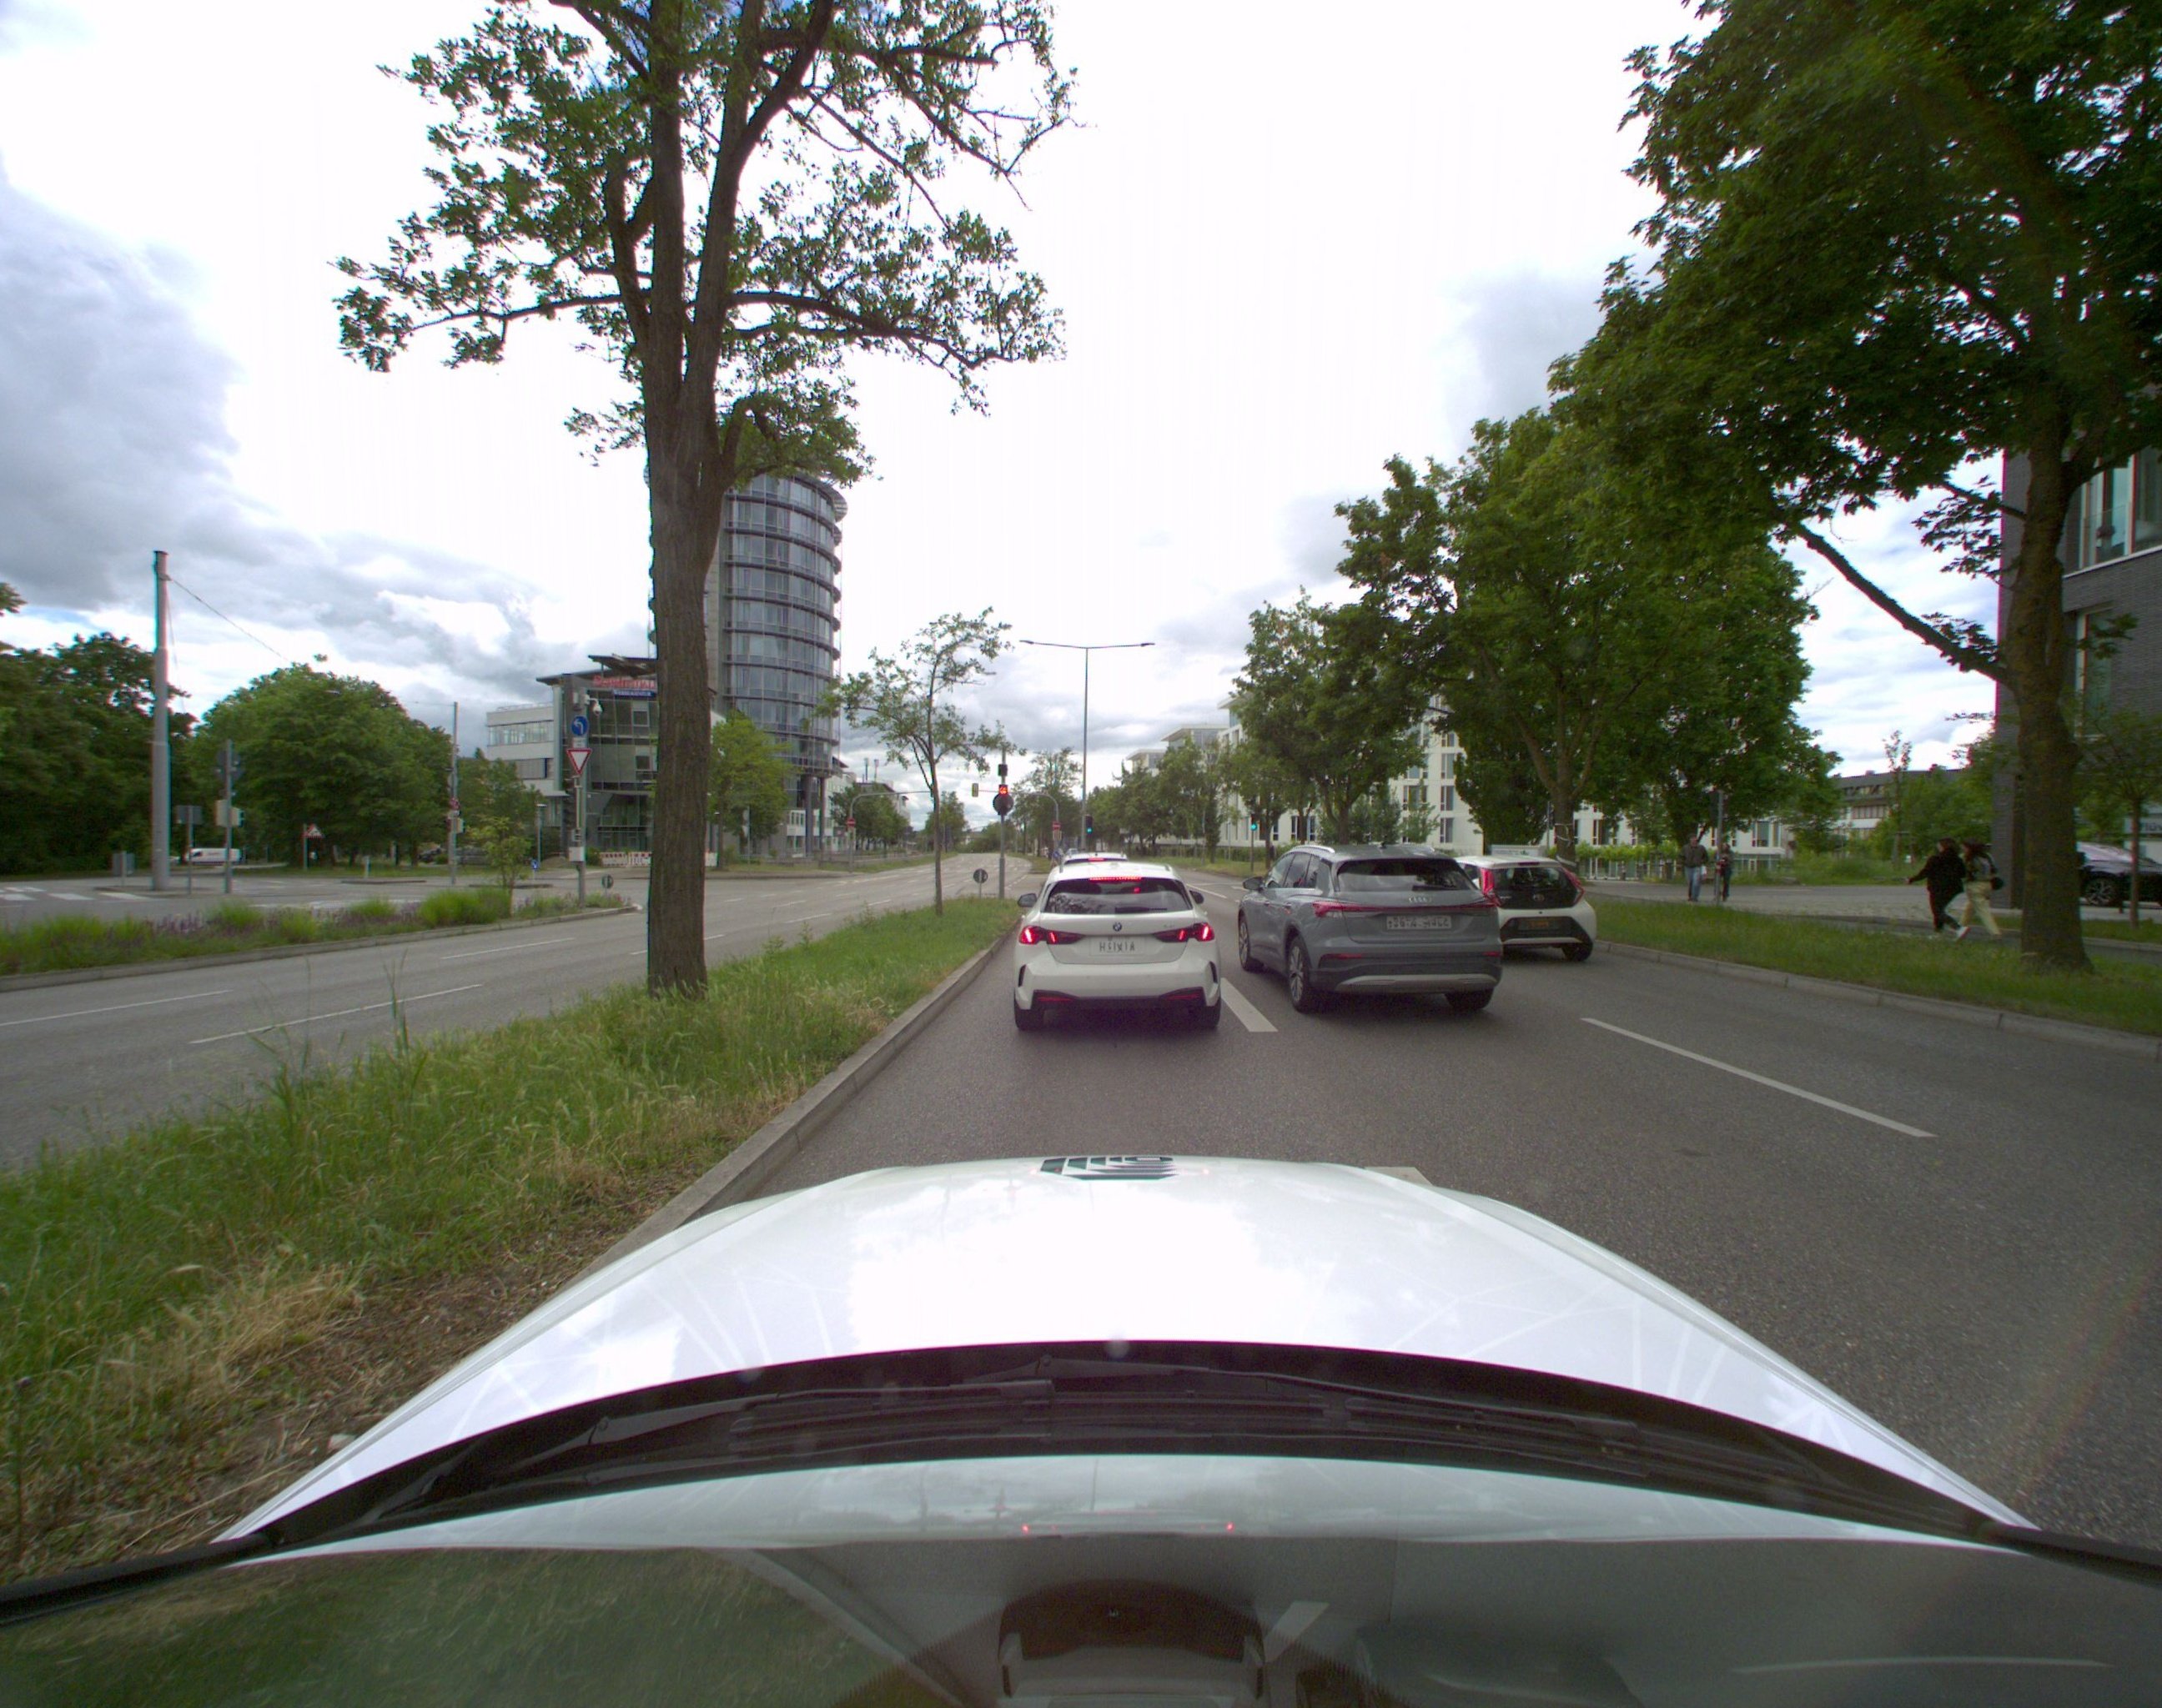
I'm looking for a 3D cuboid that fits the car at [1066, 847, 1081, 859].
[{"bbox_3d":[-1.197,-0.173,123.770,1.990,1.670,3.994,-2,0,-4],"label":"car"}]

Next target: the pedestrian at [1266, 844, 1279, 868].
[{"bbox_3d":[13.111,0.142,55.825,0.739,1.574,0.674,0,-1,0],"label":"pedestrian"}]

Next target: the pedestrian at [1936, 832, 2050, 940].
[{"bbox_3d":[14.510,0.485,12.990,0.774,1.660,0.954,0,0,7],"label":"pedestrian"}]

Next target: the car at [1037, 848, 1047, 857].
[{"bbox_3d":[-7.144,-0.243,149.741,1.692,1.717,3.993,0,-1,-4],"label":"car"}]

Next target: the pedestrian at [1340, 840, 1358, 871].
[{"bbox_3d":[14.206,0.089,43.165,0.697,1.595,0.883,0,-1,1],"label":"pedestrian"}]

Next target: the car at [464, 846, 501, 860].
[{"bbox_3d":[-37.366,-0.060,50.882,0.766,0.876,1.730,0,0,38],"label":"car"}]

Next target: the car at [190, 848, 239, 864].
[{"bbox_3d":[-128.879,0.263,121.188,1.978,2.339,4.570,-1,-1,16],"label":"car"}]

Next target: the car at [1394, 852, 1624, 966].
[{"bbox_3d":[6.135,0.703,12.152,1.647,1.425,3.537,-1,0,2],"label":"car"}]

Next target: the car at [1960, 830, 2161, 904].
[{"bbox_3d":[24.890,0.293,20.229,1.749,1.646,4.151,0,0,2],"label":"car"}]

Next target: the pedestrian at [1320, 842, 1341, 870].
[{"bbox_3d":[13.307,0.098,43.412,0.786,1.448,1.112,0,-1,1],"label":"pedestrian"}]

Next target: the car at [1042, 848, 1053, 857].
[{"bbox_3d":[-7.337,-0.306,178.435,1.992,1.732,3.990,0,-1,-7],"label":"car"}]

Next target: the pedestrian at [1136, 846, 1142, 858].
[{"bbox_3d":[9.461,-0.285,133.605,0.763,2.013,0.751,0,0,-13],"label":"pedestrian"}]

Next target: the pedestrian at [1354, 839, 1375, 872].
[{"bbox_3d":[14.998,0.082,43.092,0.764,1.685,0.883,0,-1,1],"label":"pedestrian"}]

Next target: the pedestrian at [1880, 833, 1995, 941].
[{"bbox_3d":[13.727,0.502,13.093,0.791,1.660,1.061,0,0,7],"label":"pedestrian"}]

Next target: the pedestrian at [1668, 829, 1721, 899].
[{"bbox_3d":[17.024,0.270,22.594,0.983,1.868,0.952,0,0,-38],"label":"pedestrian"}]

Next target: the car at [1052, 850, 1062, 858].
[{"bbox_3d":[-4.557,-0.025,153.730,1.690,1.486,3.685,0,0,-6],"label":"car"}]

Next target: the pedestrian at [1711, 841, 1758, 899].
[{"bbox_3d":[17.813,0.425,22.198,0.880,1.557,0.825,0,0,-38],"label":"pedestrian"}]

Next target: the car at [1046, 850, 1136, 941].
[{"bbox_3d":[0.241,0.711,15.981,1.544,1.569,4.002,0,0,2],"label":"car"}]

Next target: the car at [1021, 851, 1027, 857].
[{"bbox_3d":[-15.783,-0.070,225.046,1.597,1.666,3.997,0,0,-2],"label":"car"}]

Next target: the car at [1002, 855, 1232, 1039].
[{"bbox_3d":[0.348,0.739,8.454,1.815,1.438,4.002,0,0,2],"label":"car"}]

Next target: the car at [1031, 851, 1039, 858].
[{"bbox_3d":[-11.305,0.060,200.453,1.734,1.666,3.997,0,0,-2],"label":"car"}]

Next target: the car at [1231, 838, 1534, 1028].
[{"bbox_3d":[2.932,0.658,9.017,1.884,1.596,4.315,0,0,2],"label":"car"}]
